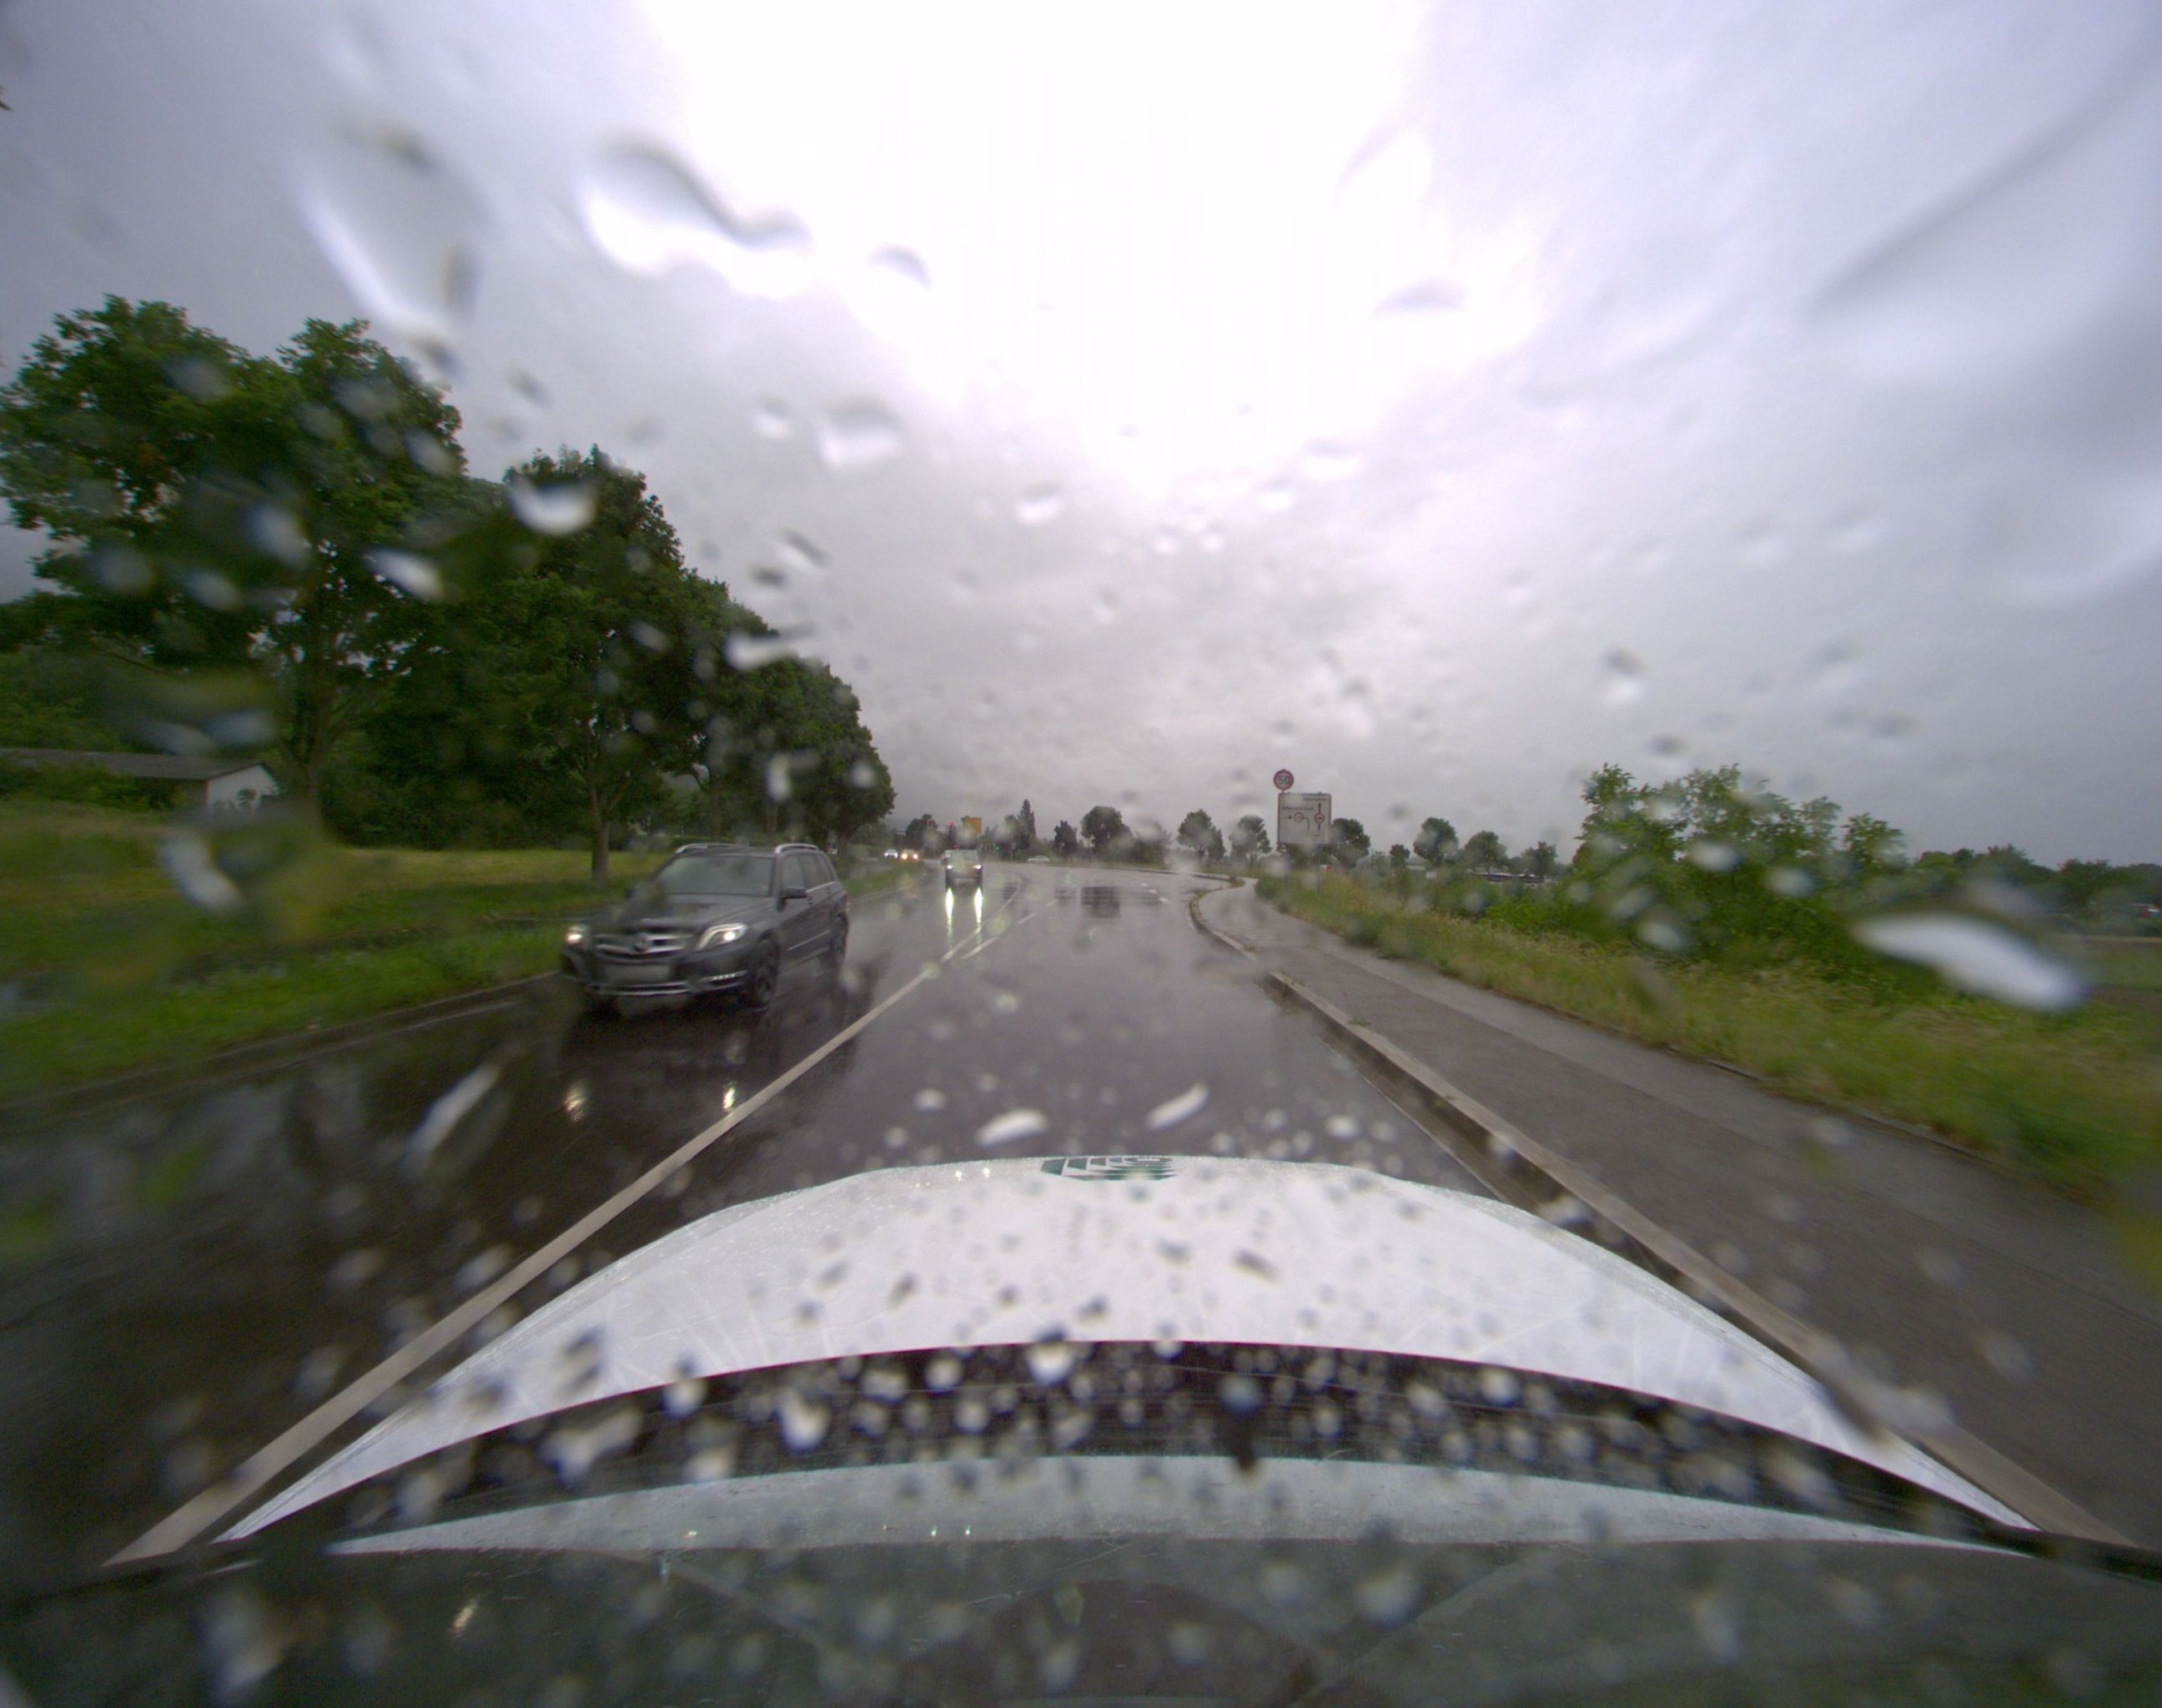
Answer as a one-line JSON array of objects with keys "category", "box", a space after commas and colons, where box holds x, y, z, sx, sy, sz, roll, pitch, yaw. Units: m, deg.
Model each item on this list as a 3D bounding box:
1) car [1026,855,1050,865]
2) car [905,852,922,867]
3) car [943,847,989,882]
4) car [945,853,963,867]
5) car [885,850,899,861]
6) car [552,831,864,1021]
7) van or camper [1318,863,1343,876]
[{"category": "car", "box": [-8.118, 1.116, 153.158, 4.377, 1.579, 1.726, 2, 0, -12]}, {"category": "car", "box": [-19.893, 0.632, 96.649, 1.885, 1.587, 4.102, 3, -1, -11]}, {"category": "car", "box": [-5.899, 0.509, 42.290, 1.919, 1.743, 4.285, 0, 0, -2]}, {"category": "car", "box": [-13.331, 0.590, 85.702, 1.737, 1.487, 4.002, 0, 0, -6]}, {"category": "car", "box": [-28.260, 0.219, 121.430, 1.882, 1.573, 4.620, 0, 0, -15]}, {"category": "car", "box": [-3.914, 0.646, 9.446, 1.736, 1.704, 4.220, 0, 0, -1]}, {"category": "van or camper", "box": [50.991, 3.181, 166.755, 4.647, 2.355, 2.024, 4, 0, 14]}]
